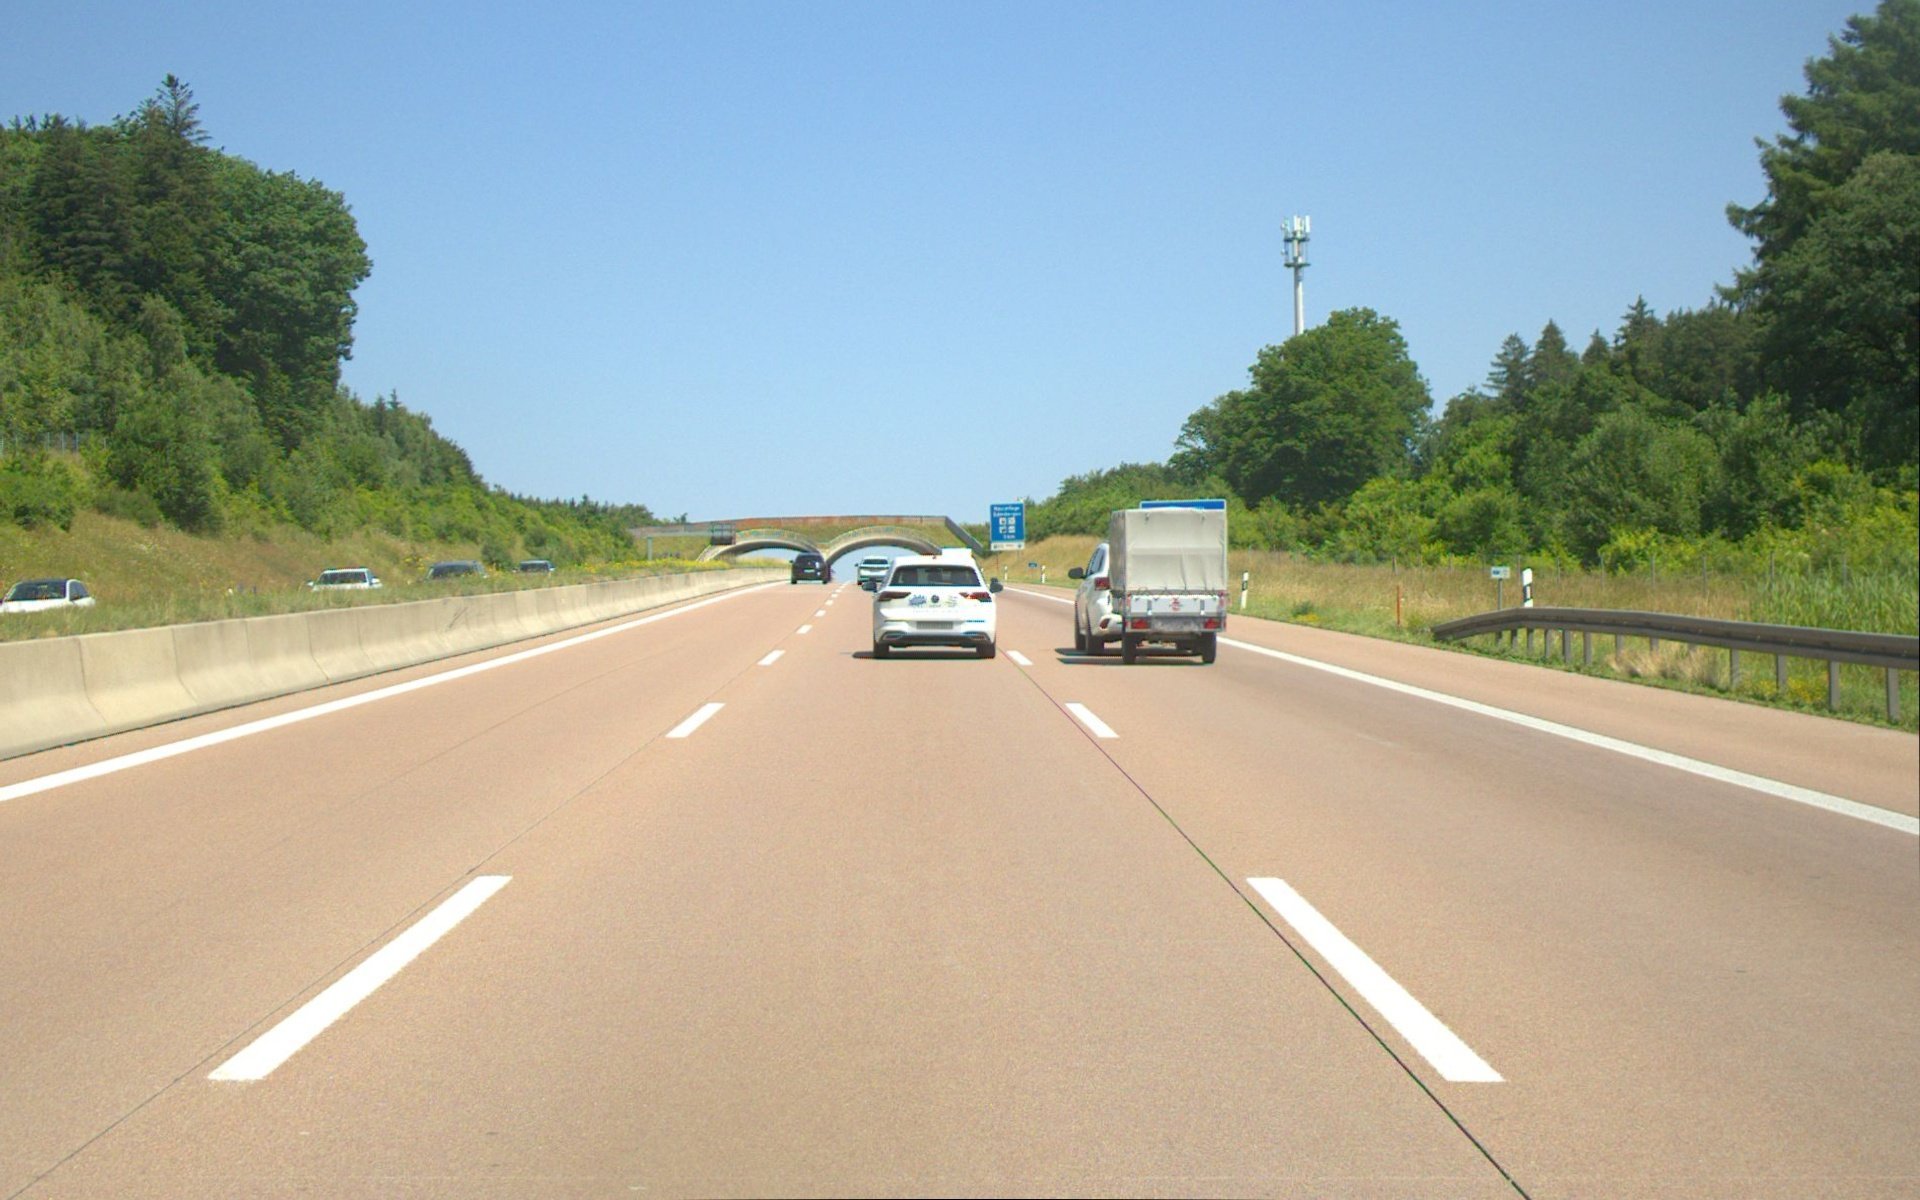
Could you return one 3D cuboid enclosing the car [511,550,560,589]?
[{"bbox_3d":[-19.517,-1.418,158.128,1.890,1.732,4.464,0,1,-3],"label":"car"}]

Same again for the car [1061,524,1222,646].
[{"bbox_3d":[2.659,-0.243,51.579,1.890,1.722,5.187,0,1,-3],"label":"car"}]

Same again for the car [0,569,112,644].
[{"bbox_3d":[-20.609,0.128,77.607,1.891,1.588,4.464,0,1,-1],"label":"car"}]

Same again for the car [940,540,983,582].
[{"bbox_3d":[0.075,-1.938,170.714,2.110,2.047,4.000,0,1,1],"label":"car"}]

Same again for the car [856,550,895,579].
[{"bbox_3d":[-4.267,-1.800,173.909,1.891,1.458,4.000,1,1,-1],"label":"car"}]

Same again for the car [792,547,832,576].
[{"bbox_3d":[-7.835,-2.051,182.557,1.891,1.458,4.000,0,1,1],"label":"car"}]

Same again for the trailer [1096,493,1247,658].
[{"bbox_3d":[2.844,-0.343,47.015,1.657,2.156,4.016,0,1,-2],"label":"trailer"}]

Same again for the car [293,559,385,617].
[{"bbox_3d":[-17.778,-0.371,98.569,1.891,1.588,4.464,0,1,-1],"label":"car"}]

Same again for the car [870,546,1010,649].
[{"bbox_3d":[-0.324,-0.063,49.290,1.890,1.393,4.000,1,1,-2],"label":"car"}]
